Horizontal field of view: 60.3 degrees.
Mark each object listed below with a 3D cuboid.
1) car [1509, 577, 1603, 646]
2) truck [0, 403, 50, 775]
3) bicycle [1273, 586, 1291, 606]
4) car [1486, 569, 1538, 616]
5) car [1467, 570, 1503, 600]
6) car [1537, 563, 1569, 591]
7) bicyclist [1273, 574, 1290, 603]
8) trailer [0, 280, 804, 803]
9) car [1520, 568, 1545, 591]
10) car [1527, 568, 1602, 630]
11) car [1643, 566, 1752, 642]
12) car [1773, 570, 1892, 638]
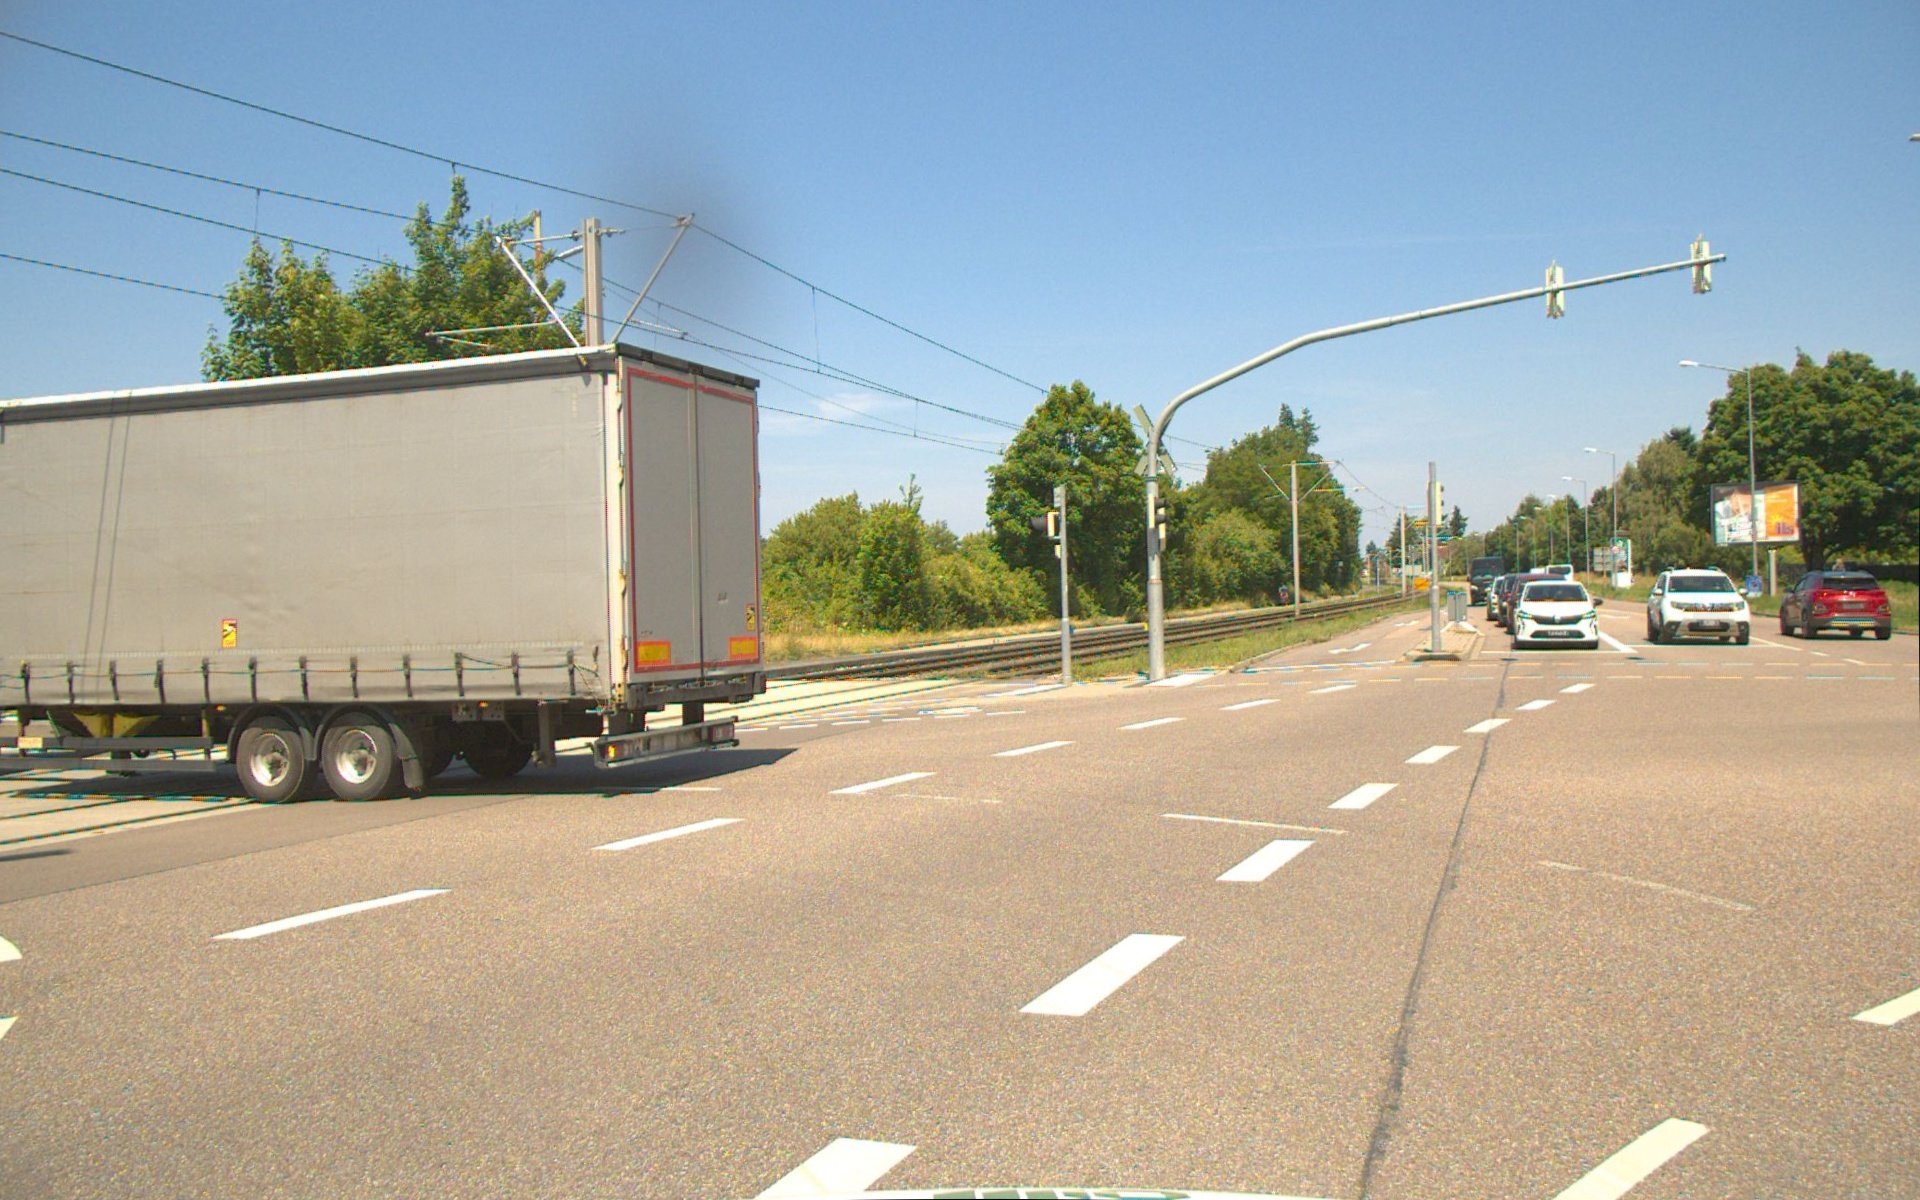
[{"bbox_3d":[13.129,0.223,36.588,1.830,1.413,4.414,-1,0,19],"label":"car"},{"bbox_3d":[-14.525,-0.017,17.615,7.777,4.141,3.084,-2,-1,-4],"label":"truck"},{"bbox_3d":[23.918,-0.337,122.827,1.038,1.369,2.698,-5,-1,15],"label":"bicycle"},{"bbox_3d":[19.808,-0.271,59.343,1.689,1.603,4.414,-1,1,19],"label":"car"},{"bbox_3d":[29.136,-0.864,91.734,1.830,1.603,4.414,-1,1,19],"label":"car"},{"bbox_3d":[38.921,-1.508,108.675,1.730,1.786,4.003,1,1,17],"label":"car"},{"bbox_3d":[23.868,-0.874,122.802,1.048,2.048,1.186,-4,-1,15],"label":"bicyclist"},{"bbox_3d":[-6.603,-0.325,16.221,9.574,4.140,3.088,-2,0,20],"label":"trailer"},{"bbox_3d":[45.615,-1.626,131.794,1.730,1.786,4.003,1,1,17],"label":"car"},{"bbox_3d":[16.662,-0.054,45.712,1.830,1.603,4.414,-1,1,19],"label":"car"},{"bbox_3d":[16.581,0.065,37.383,1.830,1.603,4.414,-1,1,19],"label":"car"},{"bbox_3d":[20.822,0.063,39.649,1.804,1.484,4.414,-2,0,19],"label":"car"}]
